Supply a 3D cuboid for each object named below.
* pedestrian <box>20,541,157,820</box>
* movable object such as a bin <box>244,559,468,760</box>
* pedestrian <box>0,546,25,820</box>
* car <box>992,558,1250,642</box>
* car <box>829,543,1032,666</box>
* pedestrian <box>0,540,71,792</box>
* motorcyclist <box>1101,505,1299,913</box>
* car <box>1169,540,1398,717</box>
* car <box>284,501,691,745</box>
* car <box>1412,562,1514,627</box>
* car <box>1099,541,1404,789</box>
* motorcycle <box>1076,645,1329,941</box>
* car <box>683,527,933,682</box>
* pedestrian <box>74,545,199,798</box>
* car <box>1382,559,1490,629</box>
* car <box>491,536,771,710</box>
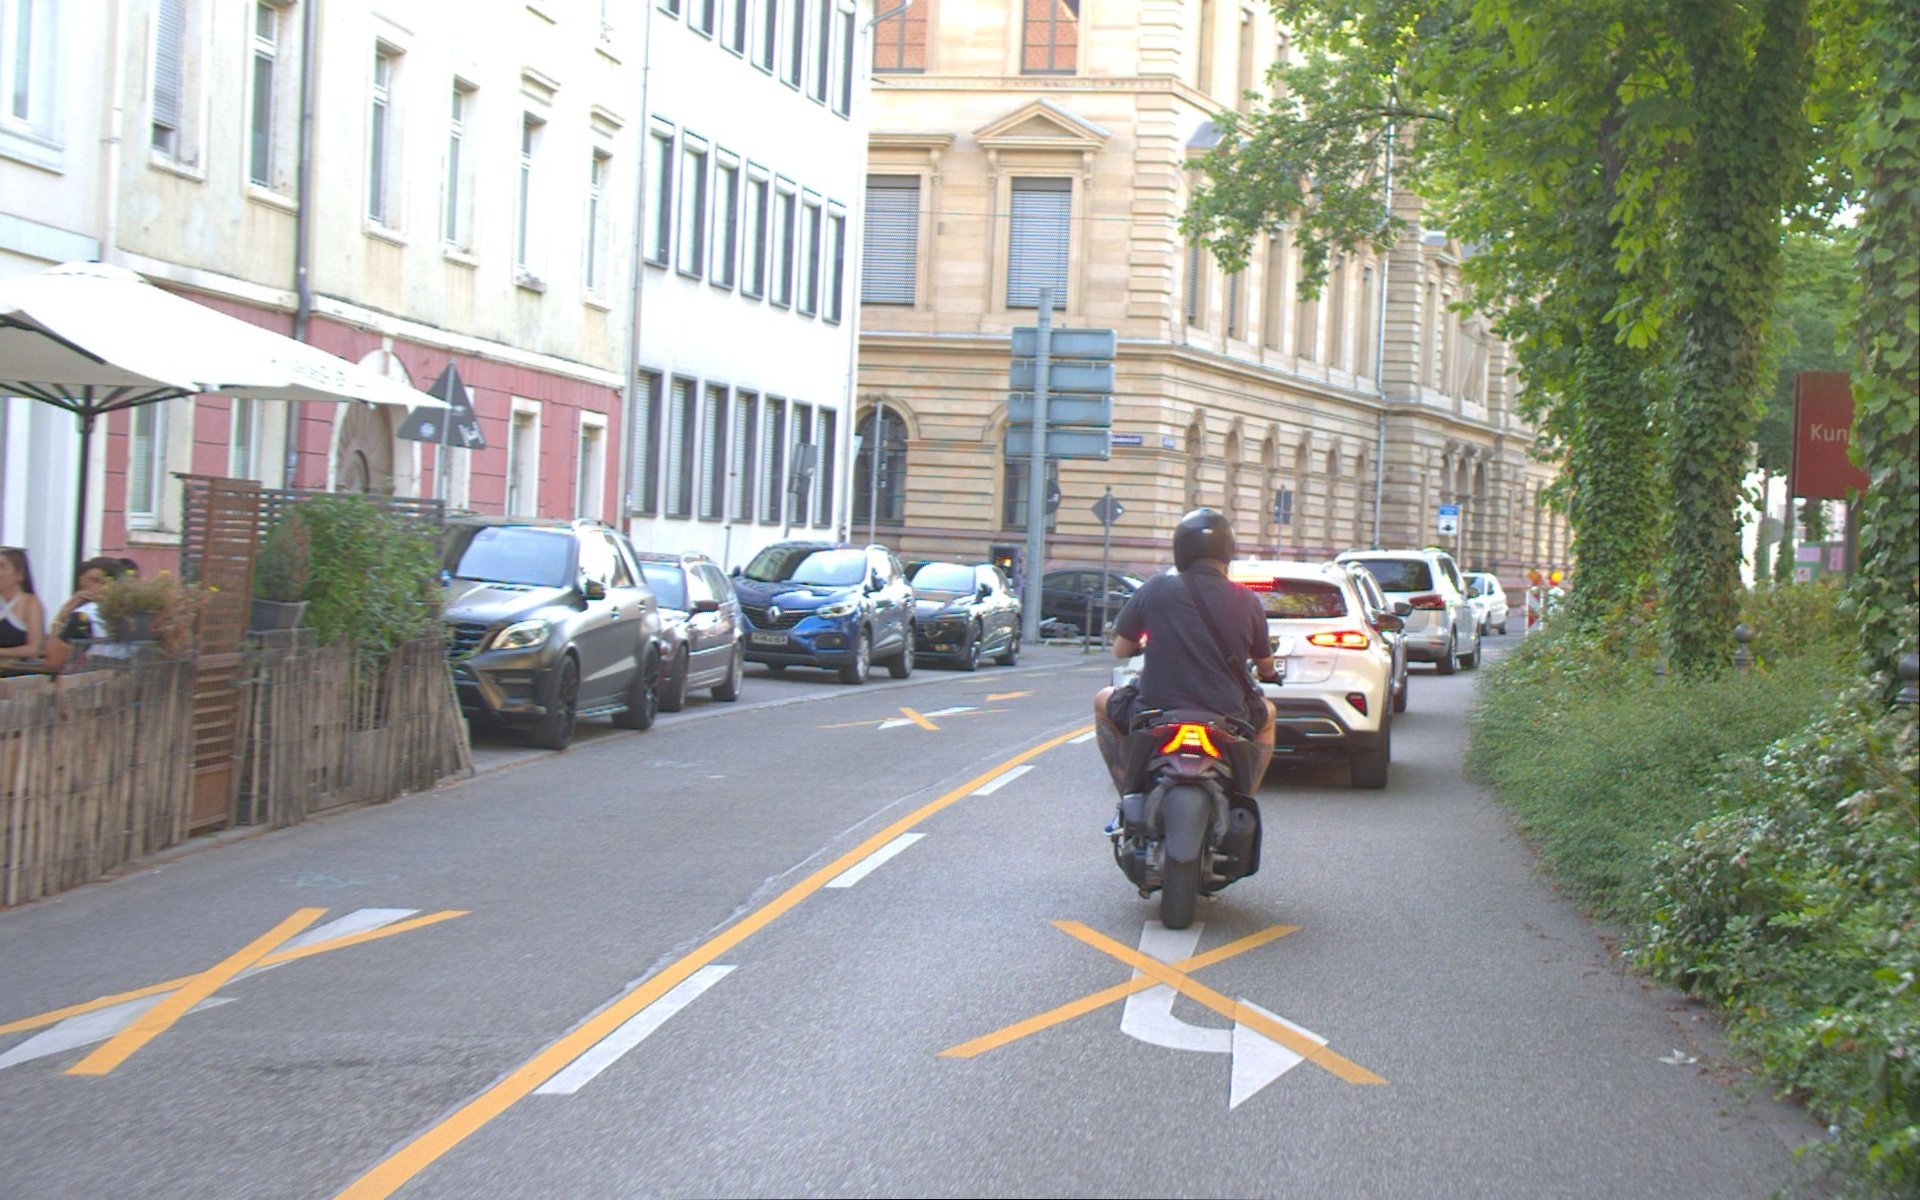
[{"bbox_3d":[-4.584,0.414,18.094,0.471,1.428,0.502,3,1,10],"label":"pedestrian"},{"bbox_3d":[-4.097,0.388,23.392,1.216,1.291,0.930,2,1,10],"label":"movable object such as a bin"},{"bbox_3d":[-5.105,0.411,17.437,0.523,1.386,0.488,3,1,2],"label":"pedestrian"},{"bbox_3d":[2.924,-0.018,62.379,4.318,1.385,1.774,2,1,21],"label":"car"},{"bbox_3d":[-0.341,0.028,47.530,1.824,1.498,4.758,4,1,11],"label":"car"},{"bbox_3d":[-5.376,0.363,19.396,0.523,1.386,0.488,3,1,2],"label":"pedestrian"},{"bbox_3d":[1.003,0.443,14.500,0.657,1.645,0.651,4,1,-3],"label":"motorcyclist"},{"bbox_3d":[3.135,0.227,32.690,1.841,1.458,4.056,4,1,9],"label":"car"},{"bbox_3d":[-3.566,0.133,26.918,1.922,1.674,4.784,2,1,7],"label":"car"},{"bbox_3d":[12.507,-0.145,85.315,1.995,1.523,4.181,2,1,15],"label":"car"},{"bbox_3d":[2.057,0.380,23.689,1.851,1.475,4.056,3,1,6],"label":"car"},{"bbox_3d":[0.985,0.773,14.408,0.796,1.062,1.725,4,1,-3],"label":"motorcycle"},{"bbox_3d":[-1.728,0.024,40.703,1.935,1.662,4.345,2,1,11],"label":"car"},{"bbox_3d":[-4.643,0.394,19.400,0.523,1.386,0.488,3,1,2],"label":"pedestrian"},{"bbox_3d":[11.397,-0.165,82.059,1.995,1.561,4.286,2,1,15],"label":"car"},{"bbox_3d":[-3.036,0.174,32.606,1.654,1.475,4.427,2,1,7],"label":"car"}]
